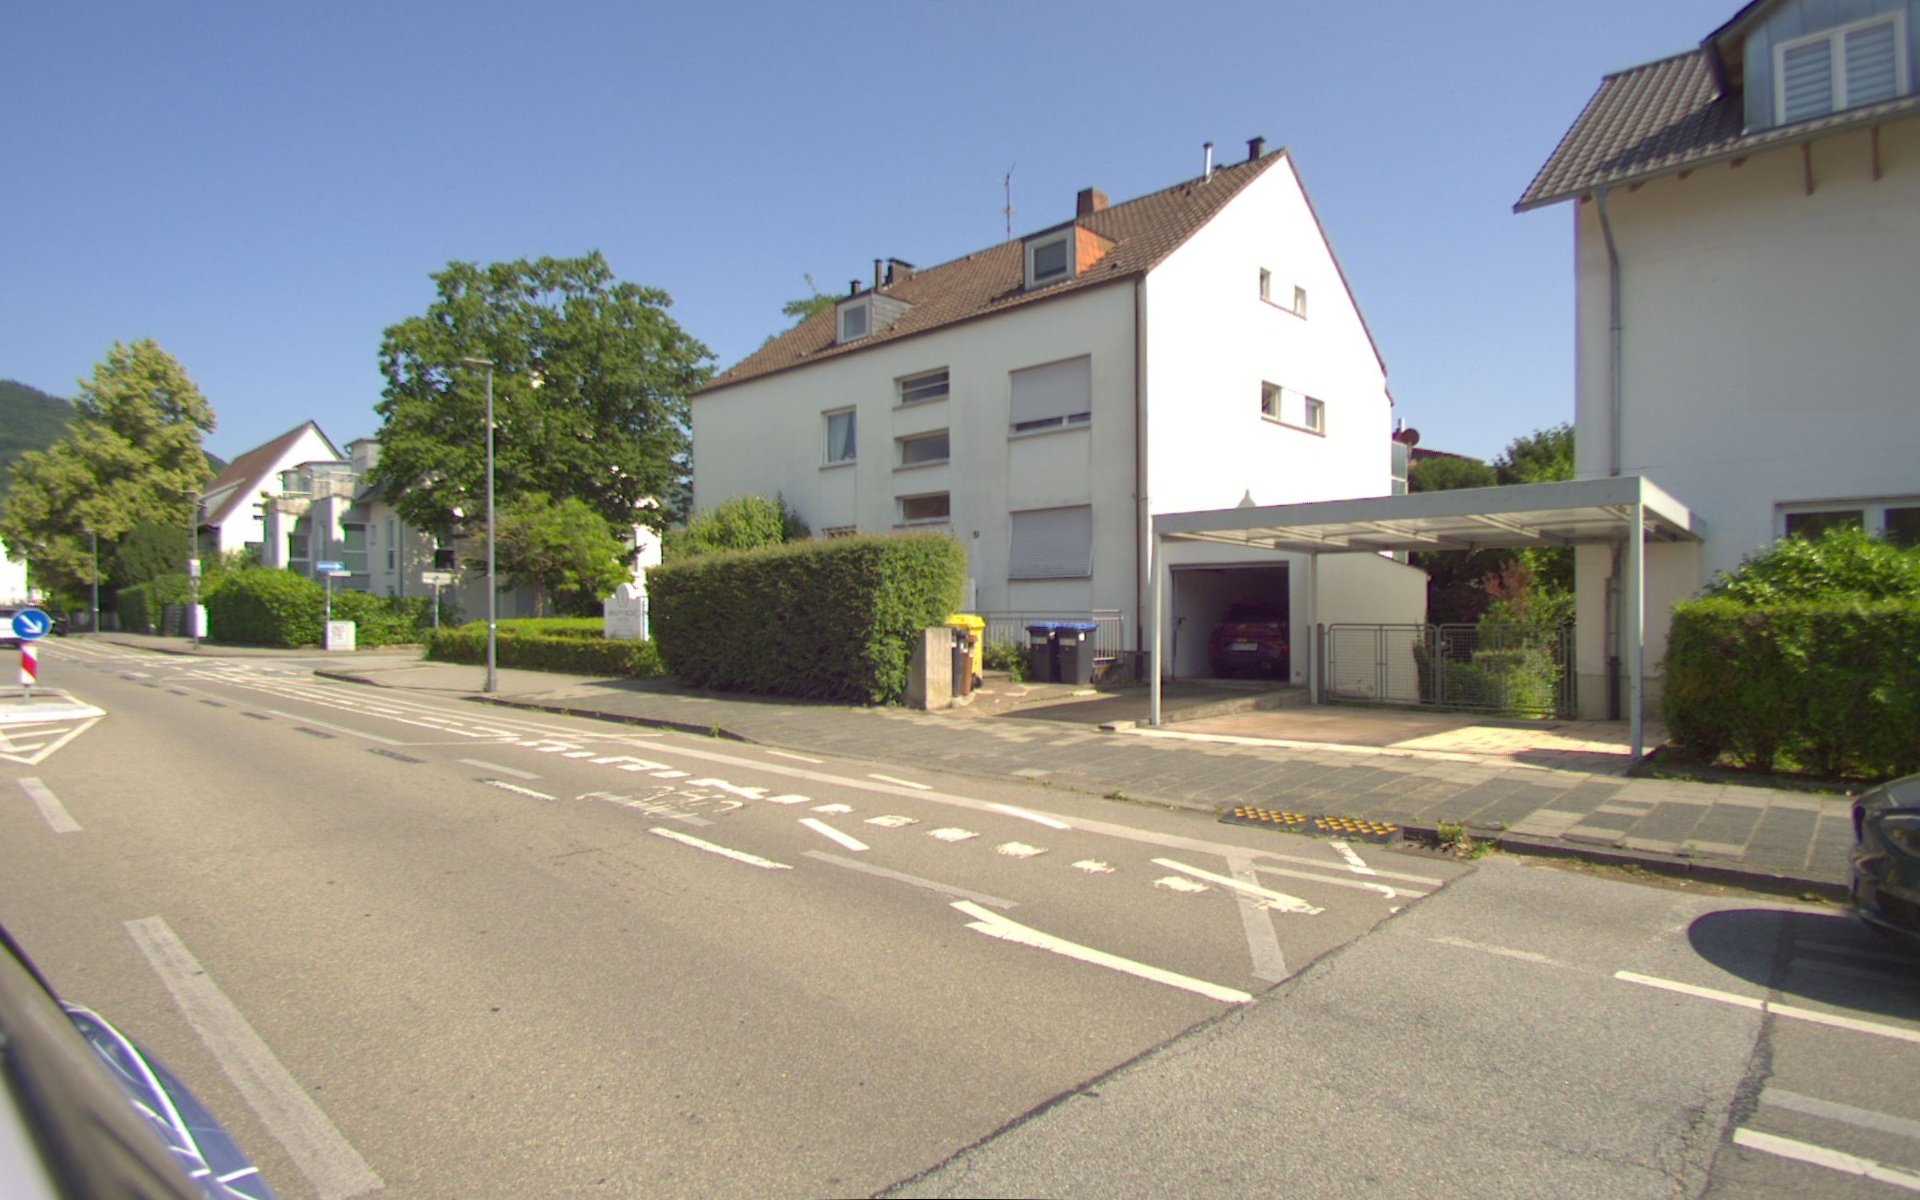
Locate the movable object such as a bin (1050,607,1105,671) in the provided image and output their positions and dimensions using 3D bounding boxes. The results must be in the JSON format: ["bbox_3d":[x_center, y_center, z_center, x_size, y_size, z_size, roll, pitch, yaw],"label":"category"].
[{"bbox_3d":[2.097,0.673,18.033,0.707,1.100,0.693,0,0,40],"label":"movable object such as a bin"}]

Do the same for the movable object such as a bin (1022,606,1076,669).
[{"bbox_3d":[1.622,0.670,18.440,0.707,1.100,0.693,0,0,40],"label":"movable object such as a bin"}]

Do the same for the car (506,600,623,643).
[{"bbox_3d":[-13.858,0.710,35.551,1.726,1.423,3.454,0,0,43],"label":"car"}]

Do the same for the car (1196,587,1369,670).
[{"bbox_3d":[6.321,0.489,19.574,1.899,1.426,3.947,0,0,39],"label":"car"}]

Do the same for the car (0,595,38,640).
[{"bbox_3d":[-37.271,0.650,39.214,4.506,1.679,1.894,0,-1,43],"label":"car"}]

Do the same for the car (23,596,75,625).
[{"bbox_3d":[-53.040,0.571,58.905,4.447,1.623,1.831,0,0,42],"label":"car"}]

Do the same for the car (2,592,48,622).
[{"bbox_3d":[-63.023,0.471,68.186,4.867,1.934,1.864,0,-1,42],"label":"car"}]

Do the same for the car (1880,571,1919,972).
[{"bbox_3d":[5.585,0.637,3.006,4.153,1.451,1.766,0,-2,41],"label":"car"}]
